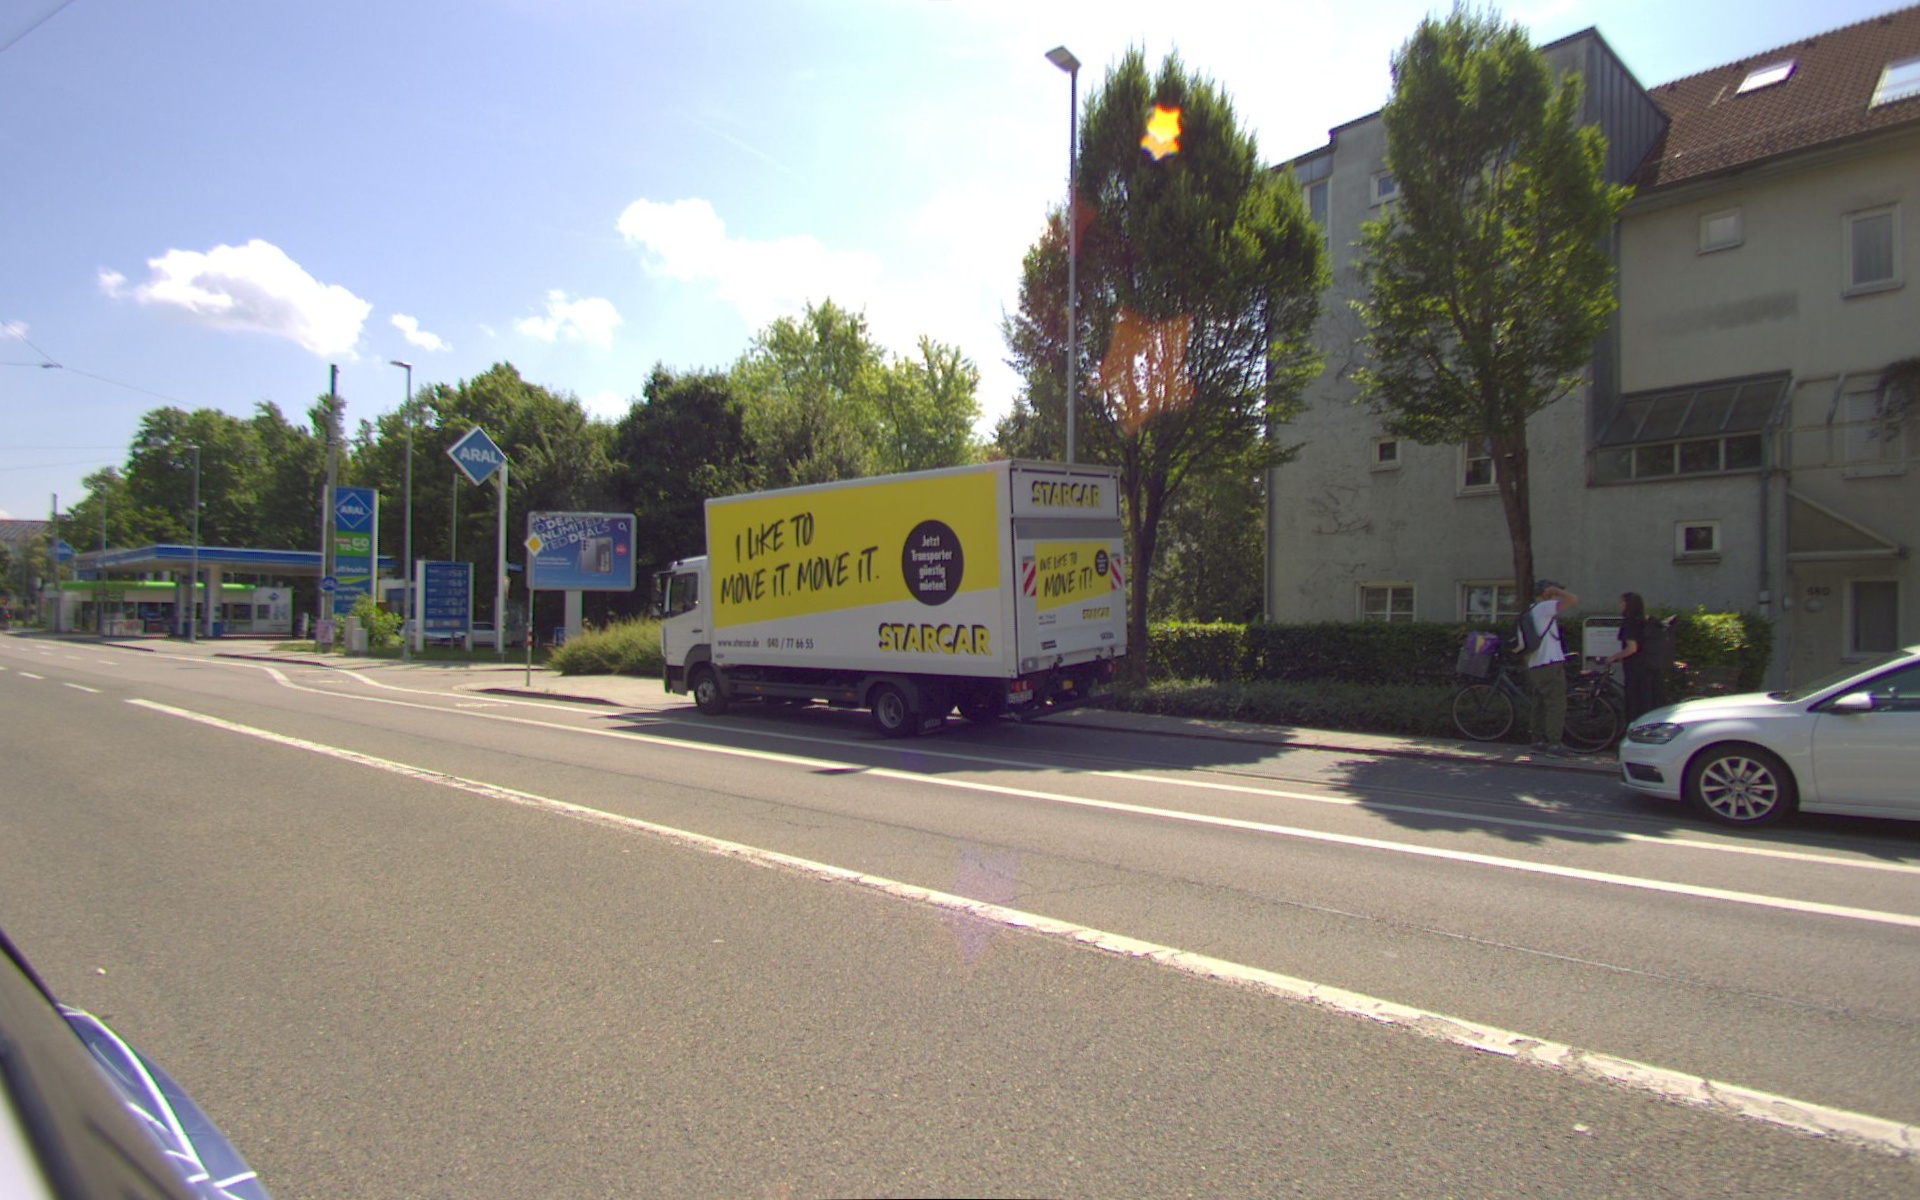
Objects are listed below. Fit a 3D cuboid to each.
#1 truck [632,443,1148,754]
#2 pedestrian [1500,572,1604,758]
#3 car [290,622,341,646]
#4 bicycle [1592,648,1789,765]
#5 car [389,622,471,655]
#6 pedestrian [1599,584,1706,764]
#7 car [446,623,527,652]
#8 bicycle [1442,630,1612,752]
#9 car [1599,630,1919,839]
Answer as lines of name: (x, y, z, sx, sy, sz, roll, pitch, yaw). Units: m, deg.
truck: (-1.464, 0.016, 15.353, 8.165, 3.575, 2.802, -1, 0, 41)
pedestrian: (6.395, 0.688, 10.963, 0.633, 1.937, 0.710, 1, -2, -18)
car: (-45.243, 2.377, 71.003, 3.995, 1.683, 1.826, -1, -2, 39)
bicycle: (7.735, 1.091, 10.780, 1.662, 1.134, 0.452, -1, -2, 37)
car: (-22.937, 1.633, 43.750, 3.997, 1.347, 1.795, -1, -2, 41)
pedestrian: (7.224, 0.751, 10.589, 0.697, 1.808, 0.681, 0, -2, 14)
car: (-26.365, 2.084, 56.379, 3.932, 1.556, 1.825, 2, -2, -31)
bicycle: (6.568, 1.015, 11.788, 1.665, 1.326, 0.451, -1, -3, 43)
car: (7.371, 0.947, 7.382, 4.394, 1.421, 1.638, -1, -2, 41)
